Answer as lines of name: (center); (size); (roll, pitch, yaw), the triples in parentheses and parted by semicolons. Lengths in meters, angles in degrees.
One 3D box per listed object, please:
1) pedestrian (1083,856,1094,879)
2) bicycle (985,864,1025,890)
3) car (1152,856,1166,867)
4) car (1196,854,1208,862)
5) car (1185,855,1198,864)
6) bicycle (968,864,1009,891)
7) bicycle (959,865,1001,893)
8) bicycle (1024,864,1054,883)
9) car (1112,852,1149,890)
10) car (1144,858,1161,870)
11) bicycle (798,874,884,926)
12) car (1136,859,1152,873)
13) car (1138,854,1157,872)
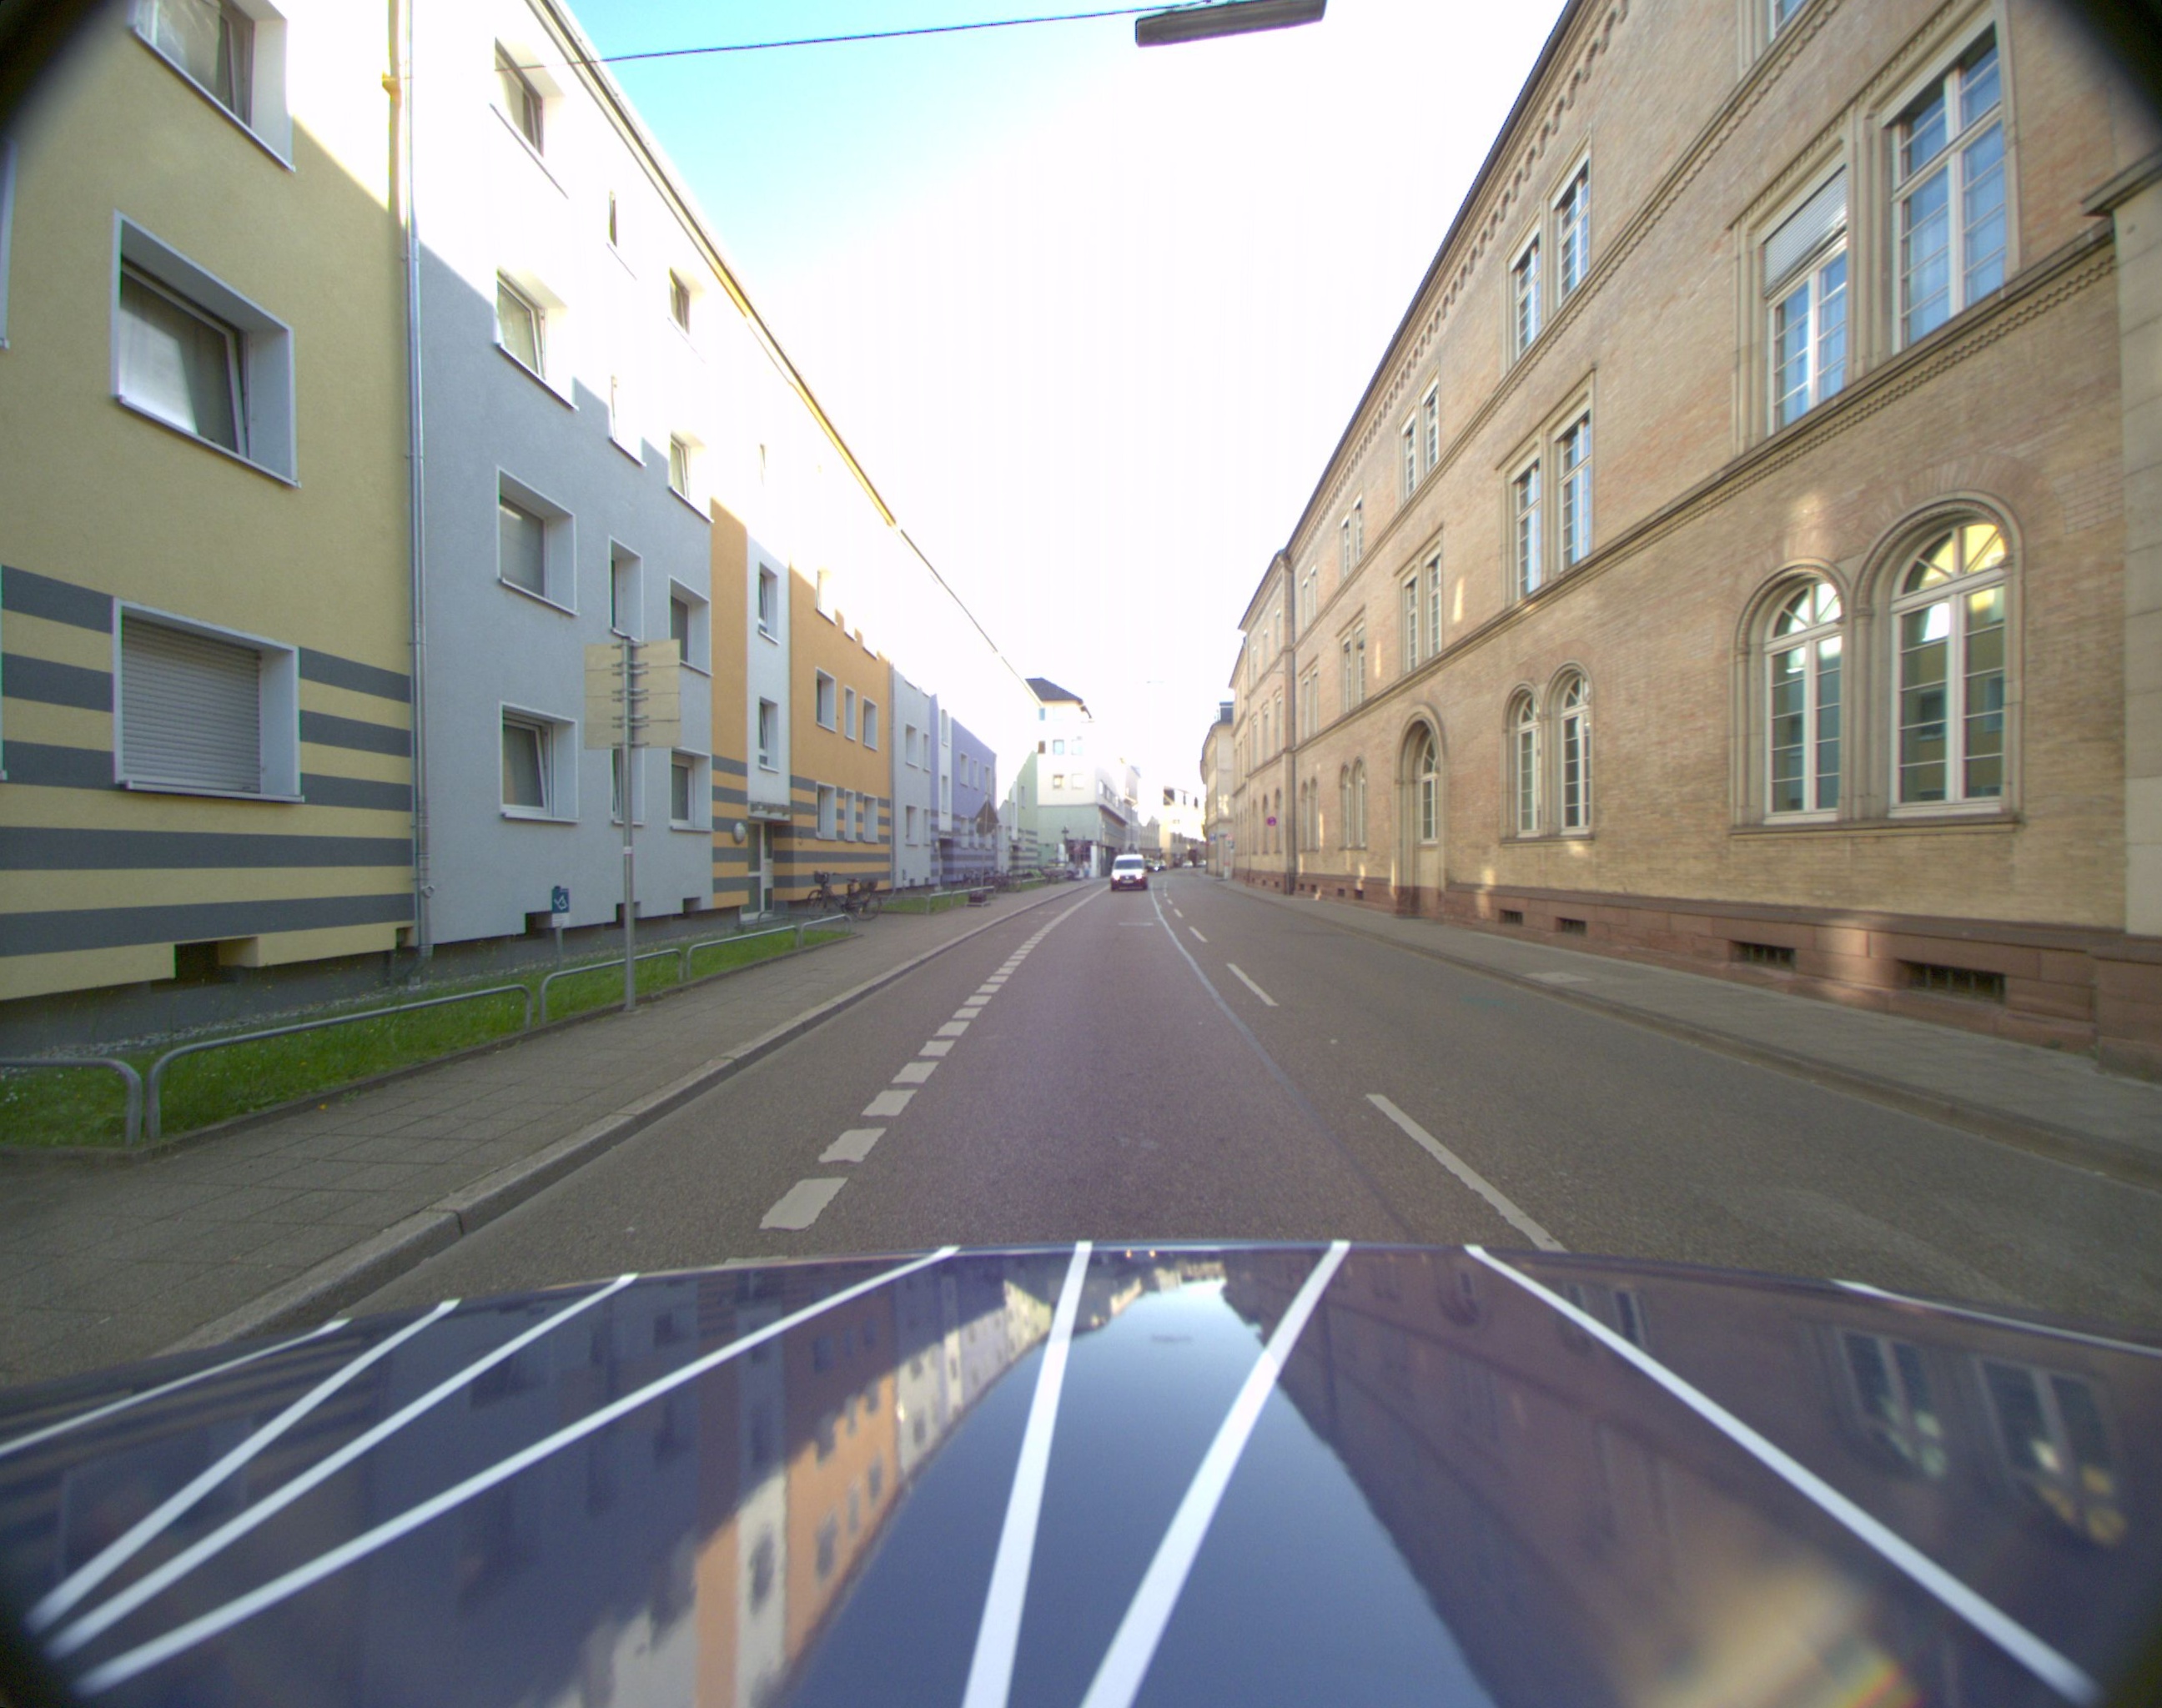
pedestrian: (0.533, 0.956, 53.927); (0.705, 1.627, 0.833); (2, 1, 5)
bicycle: (-3.376, 1.012, 33.679); (1.676, 1.145, 0.484); (0, 0, 4)
car: (12.643, 1.221, 122.700); (1.997, 1.643, 4.231); (-2, 1, 9)
car: (26.088, 0.841, 163.753); (1.996, 1.643, 4.233); (-2, 1, 17)
car: (22.105, 1.122, 152.022); (1.996, 1.643, 4.233); (-2, 1, 17)
bicycle: (-4.035, 1.028, 33.134); (1.676, 1.145, 0.484); (0, 0, 4)
bicycle: (-4.239, 1.054, 31.840); (1.676, 1.145, 0.484); (0, 0, 4)
bicycle: (-2.519, 1.164, 46.051); (1.779, 1.145, 0.484); (0, 0, 0)
car: (2.528, 0.833, 39.224); (1.769, 1.761, 5.332); (-1, 1, 3)
car: (10.673, 1.462, 113.001); (1.997, 1.643, 4.231); (-2, 1, 10)
bicycle: (-5.388, 1.019, 17.103); (1.780, 1.116, 0.484); (0, 0, -5)
car: (8.374, 1.625, 100.953); (1.998, 1.643, 4.230); (-2, 1, 6)
car: (9.433, 1.266, 107.213); (2.103, 2.263, 5.506); (-2, 1, 11)
